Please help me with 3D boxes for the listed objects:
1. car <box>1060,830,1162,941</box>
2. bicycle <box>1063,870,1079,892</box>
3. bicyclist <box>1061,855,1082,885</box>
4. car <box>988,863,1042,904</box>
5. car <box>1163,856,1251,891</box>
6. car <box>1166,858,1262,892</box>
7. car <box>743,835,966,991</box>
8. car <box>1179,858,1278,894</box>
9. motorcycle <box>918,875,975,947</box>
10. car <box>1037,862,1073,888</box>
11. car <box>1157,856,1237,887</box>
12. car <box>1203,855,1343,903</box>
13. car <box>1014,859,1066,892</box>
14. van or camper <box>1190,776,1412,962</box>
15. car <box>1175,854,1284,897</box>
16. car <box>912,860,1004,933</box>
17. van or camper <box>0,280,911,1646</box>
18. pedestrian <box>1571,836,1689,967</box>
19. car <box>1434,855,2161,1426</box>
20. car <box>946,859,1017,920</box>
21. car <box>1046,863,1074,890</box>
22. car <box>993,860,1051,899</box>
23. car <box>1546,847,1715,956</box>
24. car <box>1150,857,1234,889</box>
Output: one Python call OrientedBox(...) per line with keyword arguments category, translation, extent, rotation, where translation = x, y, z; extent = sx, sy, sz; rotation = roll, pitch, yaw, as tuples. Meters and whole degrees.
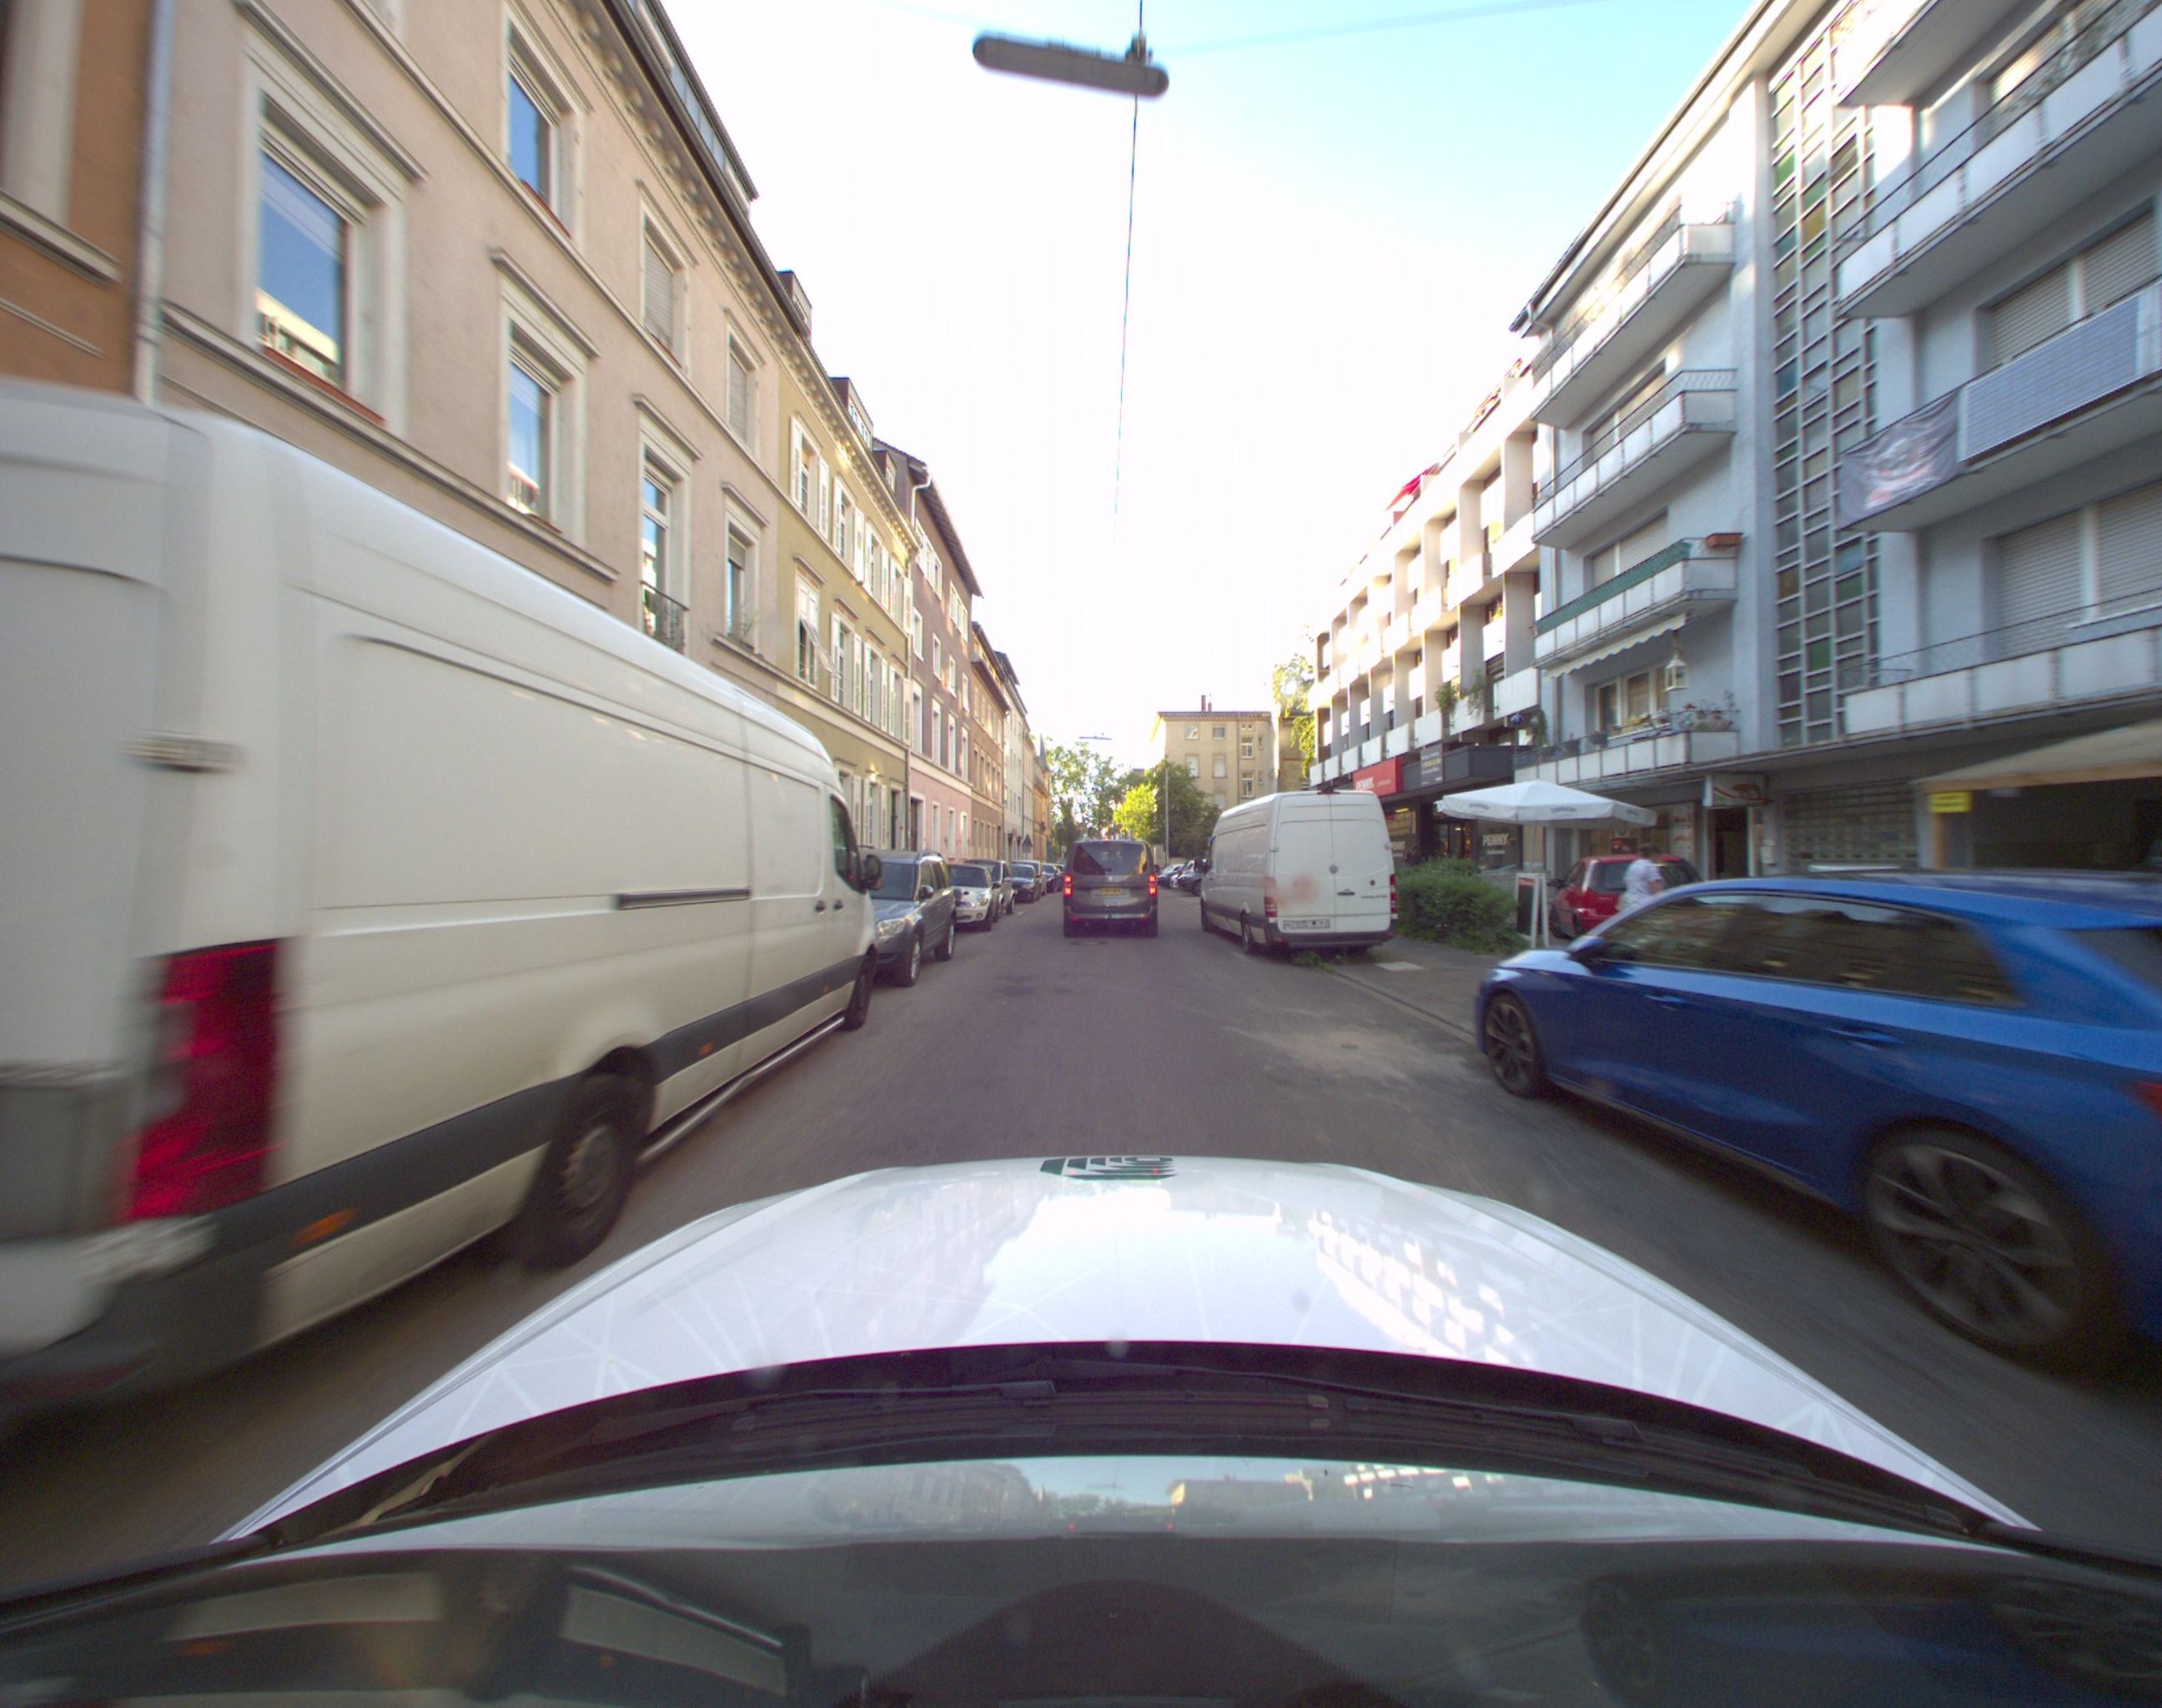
OrientedBox(category="car", translation=(0.641, 0.595, 17.256), extent=(1.850, 2.013, 4.002), rotation=(-2, 0, 2))
OrientedBox(category="bicycle", translation=(-0.502, 1.423, 43.433), extent=(0.618, 1.138, 2.260), rotation=(-1, 0, 5))
OrientedBox(category="bicyclist", translation=(-0.493, 0.834, 43.826), extent=(1.029, 1.578, 0.834), rotation=(-1, -1, 5))
OrientedBox(category="car", translation=(-2.469, 1.084, 31.356), extent=(1.783, 1.397, 4.464), rotation=(1, 0, -2))
OrientedBox(category="car", translation=(6.917, 1.068, 44.810), extent=(4.467, 1.859, 1.881), rotation=(0, -1, -6))
OrientedBox(category="car", translation=(6.823, 1.078, 42.158), extent=(4.564, 1.705, 1.996), rotation=(0, -1, -6))
OrientedBox(category="car", translation=(-2.862, 0.686, 11.354), extent=(1.857, 1.751, 4.292), rotation=(0, 0, 0))
OrientedBox(category="car", translation=(7.091, 1.070, 39.426), extent=(4.446, 1.676, 1.795), rotation=(0, -1, -4))
OrientedBox(category="motorcycle", translation=(-2.549, 1.043, 15.701), extent=(0.708, 1.234, 2.474), rotation=(0, 0, 0))
OrientedBox(category="car", translation=(-1.648, 1.296, 51.763), extent=(2.138, 1.560, 4.581), rotation=(0, 0, -2))
OrientedBox(category="car", translation=(7.161, 1.101, 50.548), extent=(4.564, 1.859, 1.996), rotation=(0, -1, -6))
OrientedBox(category="car", translation=(6.846, 0.898, 29.431), extent=(4.609, 1.466, 1.841), rotation=(-3, -1, 0))
OrientedBox(category="car", translation=(-2.033, 1.075, 42.167), extent=(1.983, 1.560, 4.592), rotation=(0, 0, 6))
OrientedBox(category="van or camper", translation=(3.635, 0.245, 15.336), extent=(2.093, 2.602, 7.510), rotation=(-1, -1, 0))
OrientedBox(category="car", translation=(6.609, 0.939, 36.569), extent=(4.555, 1.859, 2.000), rotation=(0, -1, 0))
OrientedBox(category="car", translation=(-2.754, 0.904, 18.923), extent=(1.707, 1.497, 3.851), rotation=(0, 0, -3))
OrientedBox(category="van or camper", translation=(-2.784, 0.245, 5.134), extent=(1.943, 2.649, 7.138), rotation=(-1, -1, -1))
OrientedBox(category="pedestrian", translation=(7.039, 0.580, 10.472), extent=(0.874, 1.556, 0.869), rotation=(-2, 0, -21))
OrientedBox(category="car", translation=(3.533, 0.727, 3.965), extent=(1.717, 1.388, 4.293), rotation=(-2, 0, 0))
OrientedBox(category="car", translation=(-2.658, 0.922, 22.180), extent=(1.379, 1.532, 2.752), rotation=(0, 0, 4))
OrientedBox(category="car", translation=(-1.576, 1.651, 60.350), extent=(1.988, 1.859, 4.581), rotation=(0, 0, -2))
OrientedBox(category="car", translation=(-2.532, 1.079, 36.270), extent=(1.985, 1.605, 4.588), rotation=(0, 0, 3))
OrientedBox(category="car", translation=(8.185, 0.634, 12.404), extent=(1.585, 1.416, 3.247), rotation=(-1, -1, 24))
OrientedBox(category="car", translation=(6.459, 1.096, 47.577), extent=(4.564, 1.792, 1.996), rotation=(0, -1, -6))
